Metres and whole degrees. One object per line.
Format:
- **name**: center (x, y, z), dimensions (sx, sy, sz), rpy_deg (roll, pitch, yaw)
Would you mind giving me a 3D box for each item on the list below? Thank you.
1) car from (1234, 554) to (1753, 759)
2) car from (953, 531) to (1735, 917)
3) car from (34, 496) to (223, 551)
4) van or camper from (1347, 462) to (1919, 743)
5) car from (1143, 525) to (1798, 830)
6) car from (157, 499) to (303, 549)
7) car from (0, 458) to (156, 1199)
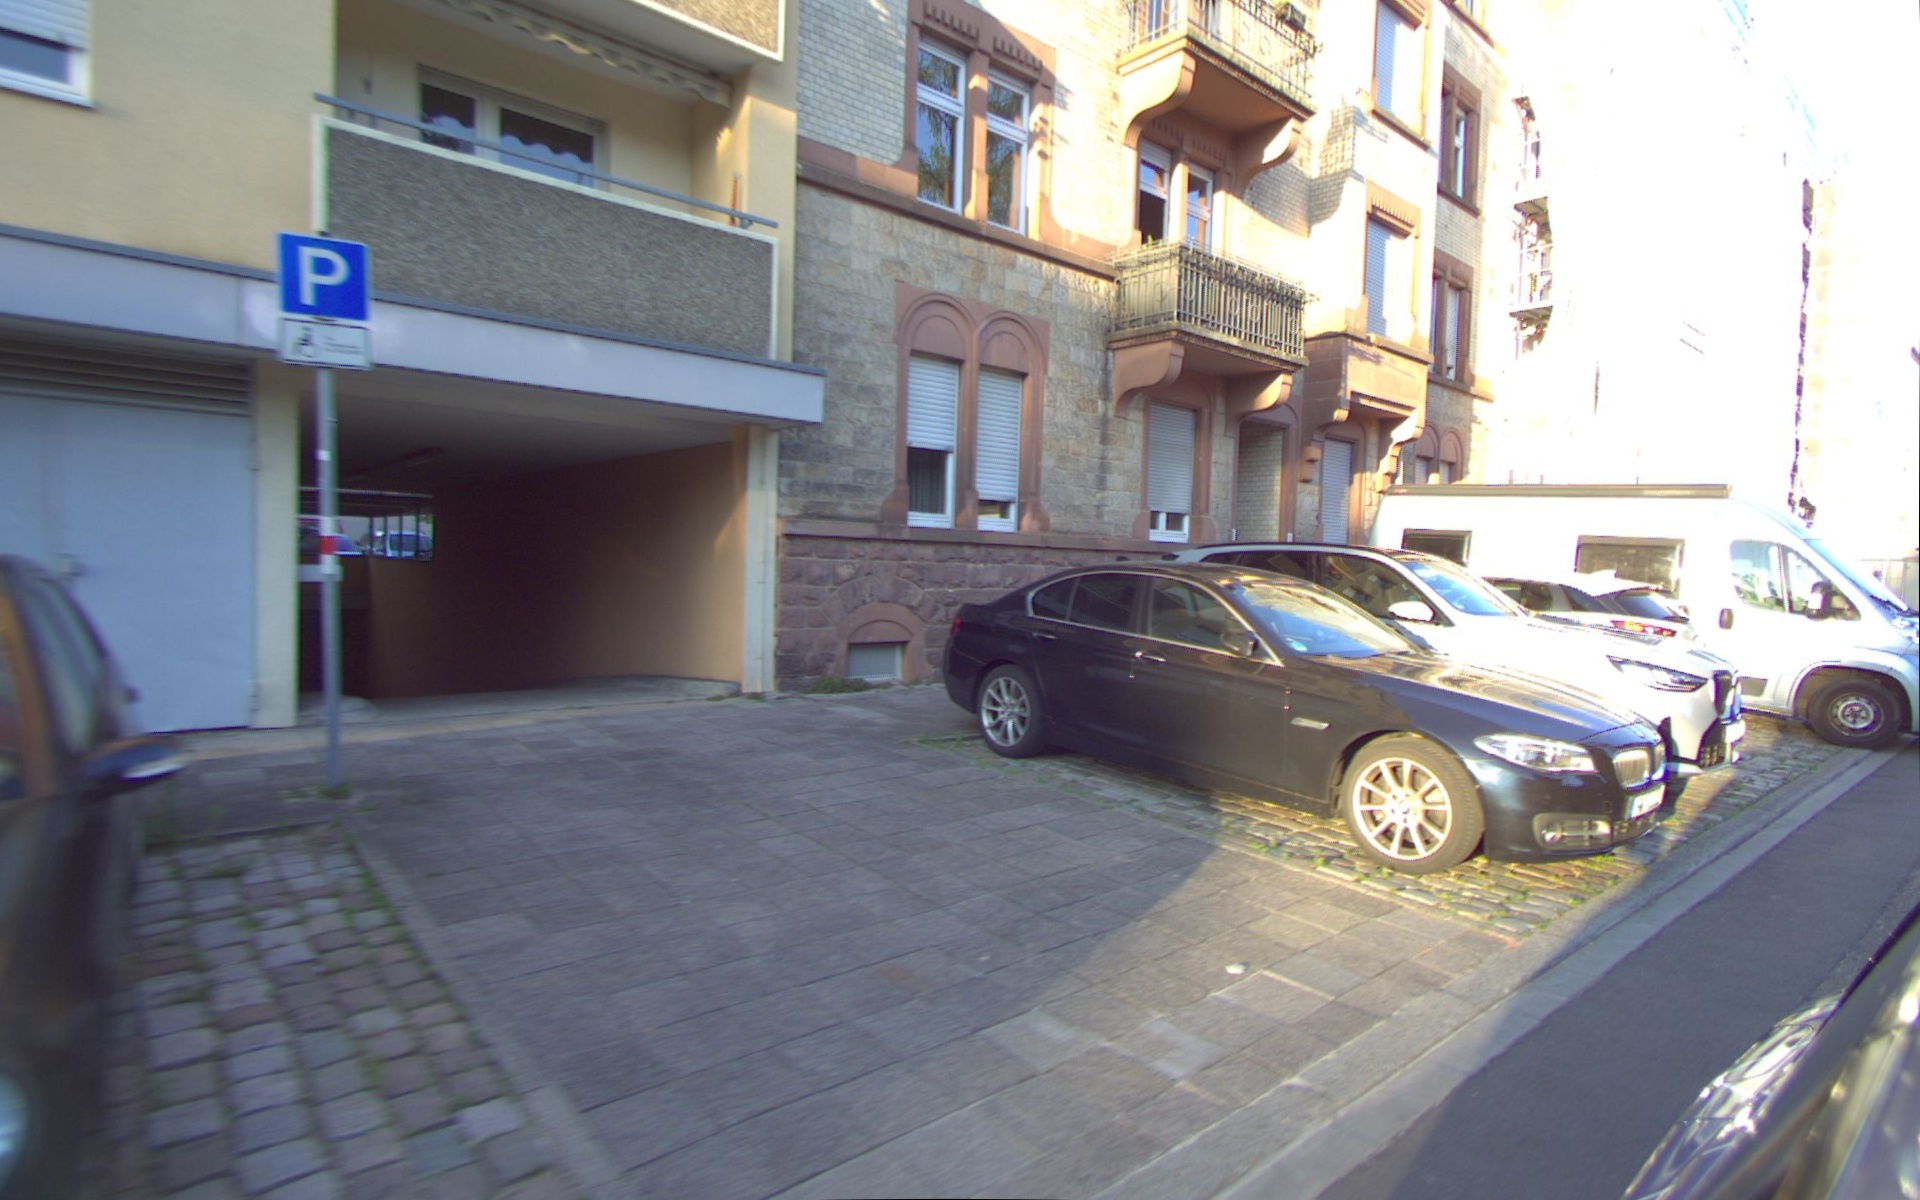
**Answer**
- **car**: center (5.230, 0.355, 10.493), dimensions (1.813, 1.638, 4.415), rpy_deg (-3, 4, -38)
- **car**: center (2.036, 0.380, 6.575), dimensions (1.813, 1.572, 4.416), rpy_deg (-3, 6, -39)
- **car**: center (-34.457, -3.108, 42.161), dimensions (5.953, 2.038, 1.997), rpy_deg (-1, 2, -41)
- **van or camper**: center (7.889, -0.177, 11.685), dimensions (2.014, 2.534, 6.075), rpy_deg (0, 5, -40)
- **car**: center (3.802, 0.308, 8.325), dimensions (1.812, 1.769, 4.417), rpy_deg (-3, 6, -38)
- **car**: center (-29.867, -3.054, 41.483), dimensions (4.753, 1.856, 1.997), rpy_deg (-1, 2, -41)
- **car**: center (-3.168, 0.493, 2.452), dimensions (1.812, 1.572, 4.417), rpy_deg (-3, 6, -38)
